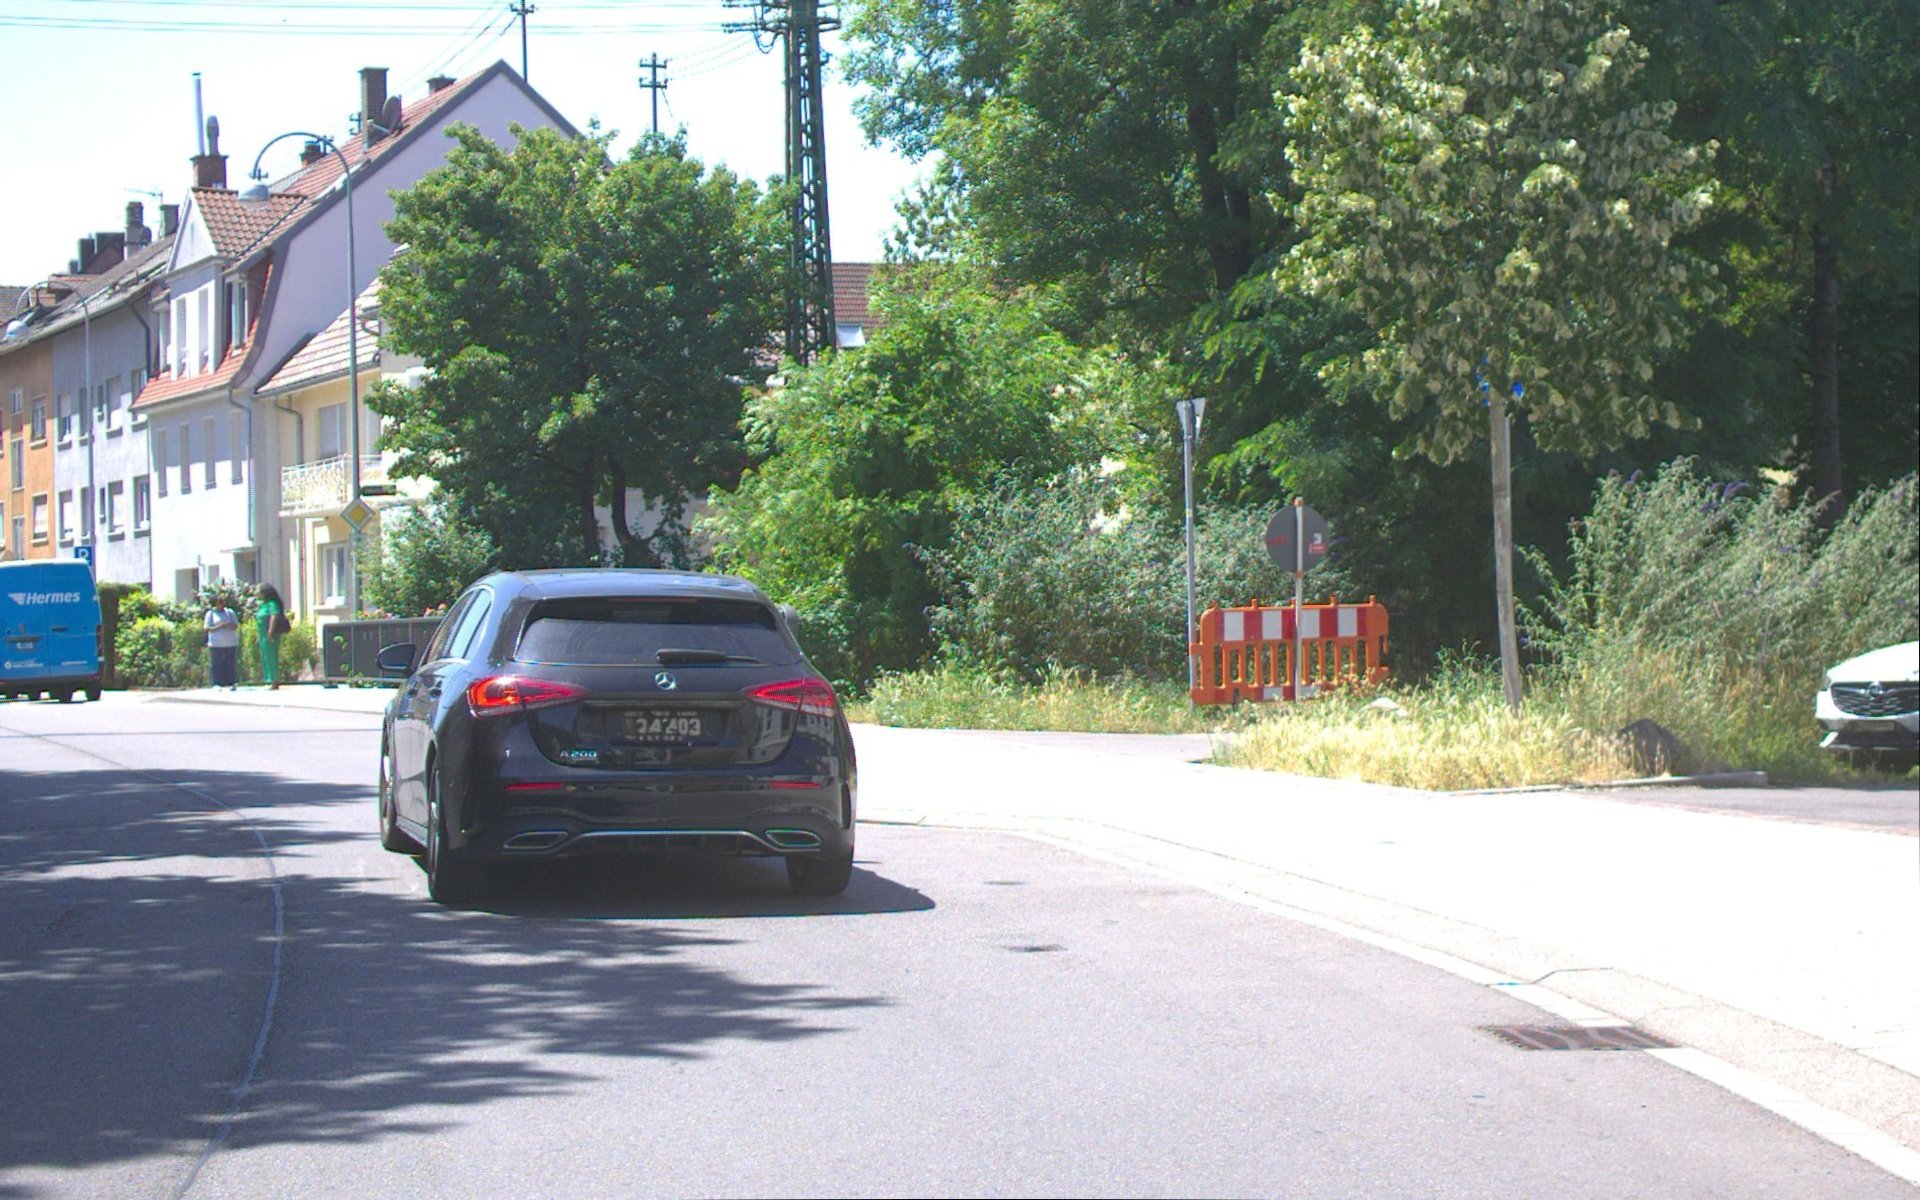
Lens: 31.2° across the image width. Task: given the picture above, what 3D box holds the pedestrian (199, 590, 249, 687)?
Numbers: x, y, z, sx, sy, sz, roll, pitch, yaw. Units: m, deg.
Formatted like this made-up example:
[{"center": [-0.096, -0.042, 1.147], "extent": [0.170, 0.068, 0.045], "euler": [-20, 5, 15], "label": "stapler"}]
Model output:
[{"center": [-12.423, 0.647, 58.002], "extent": [0.614, 1.607, 0.838], "euler": [-1, 0, -27], "label": "pedestrian"}]

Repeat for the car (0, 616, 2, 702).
[{"center": [-21.238, 1.185, 71.496], "extent": [1.993, 1.740, 4.330], "euler": [0, 1, -23], "label": "car"}]

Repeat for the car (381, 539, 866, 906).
[{"center": [-1.677, 0.559, 15.840], "extent": [1.827, 1.437, 4.000], "euler": [-1, -2, -11], "label": "car"}]

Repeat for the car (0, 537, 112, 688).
[{"center": [-16.391, 0.226, 60.621], "extent": [2.132, 2.533, 4.650], "euler": [-1, 0, -22], "label": "car"}]

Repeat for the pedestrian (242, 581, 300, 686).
[{"center": [-11.472, 0.555, 57.242], "extent": [0.661, 1.735, 0.702], "euler": [-1, 0, -40], "label": "pedestrian"}]

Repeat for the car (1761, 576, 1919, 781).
[{"center": [7.783, 0.537, 24.104], "extent": [4.189, 1.345, 1.860], "euler": [1, 0, -34], "label": "car"}]
